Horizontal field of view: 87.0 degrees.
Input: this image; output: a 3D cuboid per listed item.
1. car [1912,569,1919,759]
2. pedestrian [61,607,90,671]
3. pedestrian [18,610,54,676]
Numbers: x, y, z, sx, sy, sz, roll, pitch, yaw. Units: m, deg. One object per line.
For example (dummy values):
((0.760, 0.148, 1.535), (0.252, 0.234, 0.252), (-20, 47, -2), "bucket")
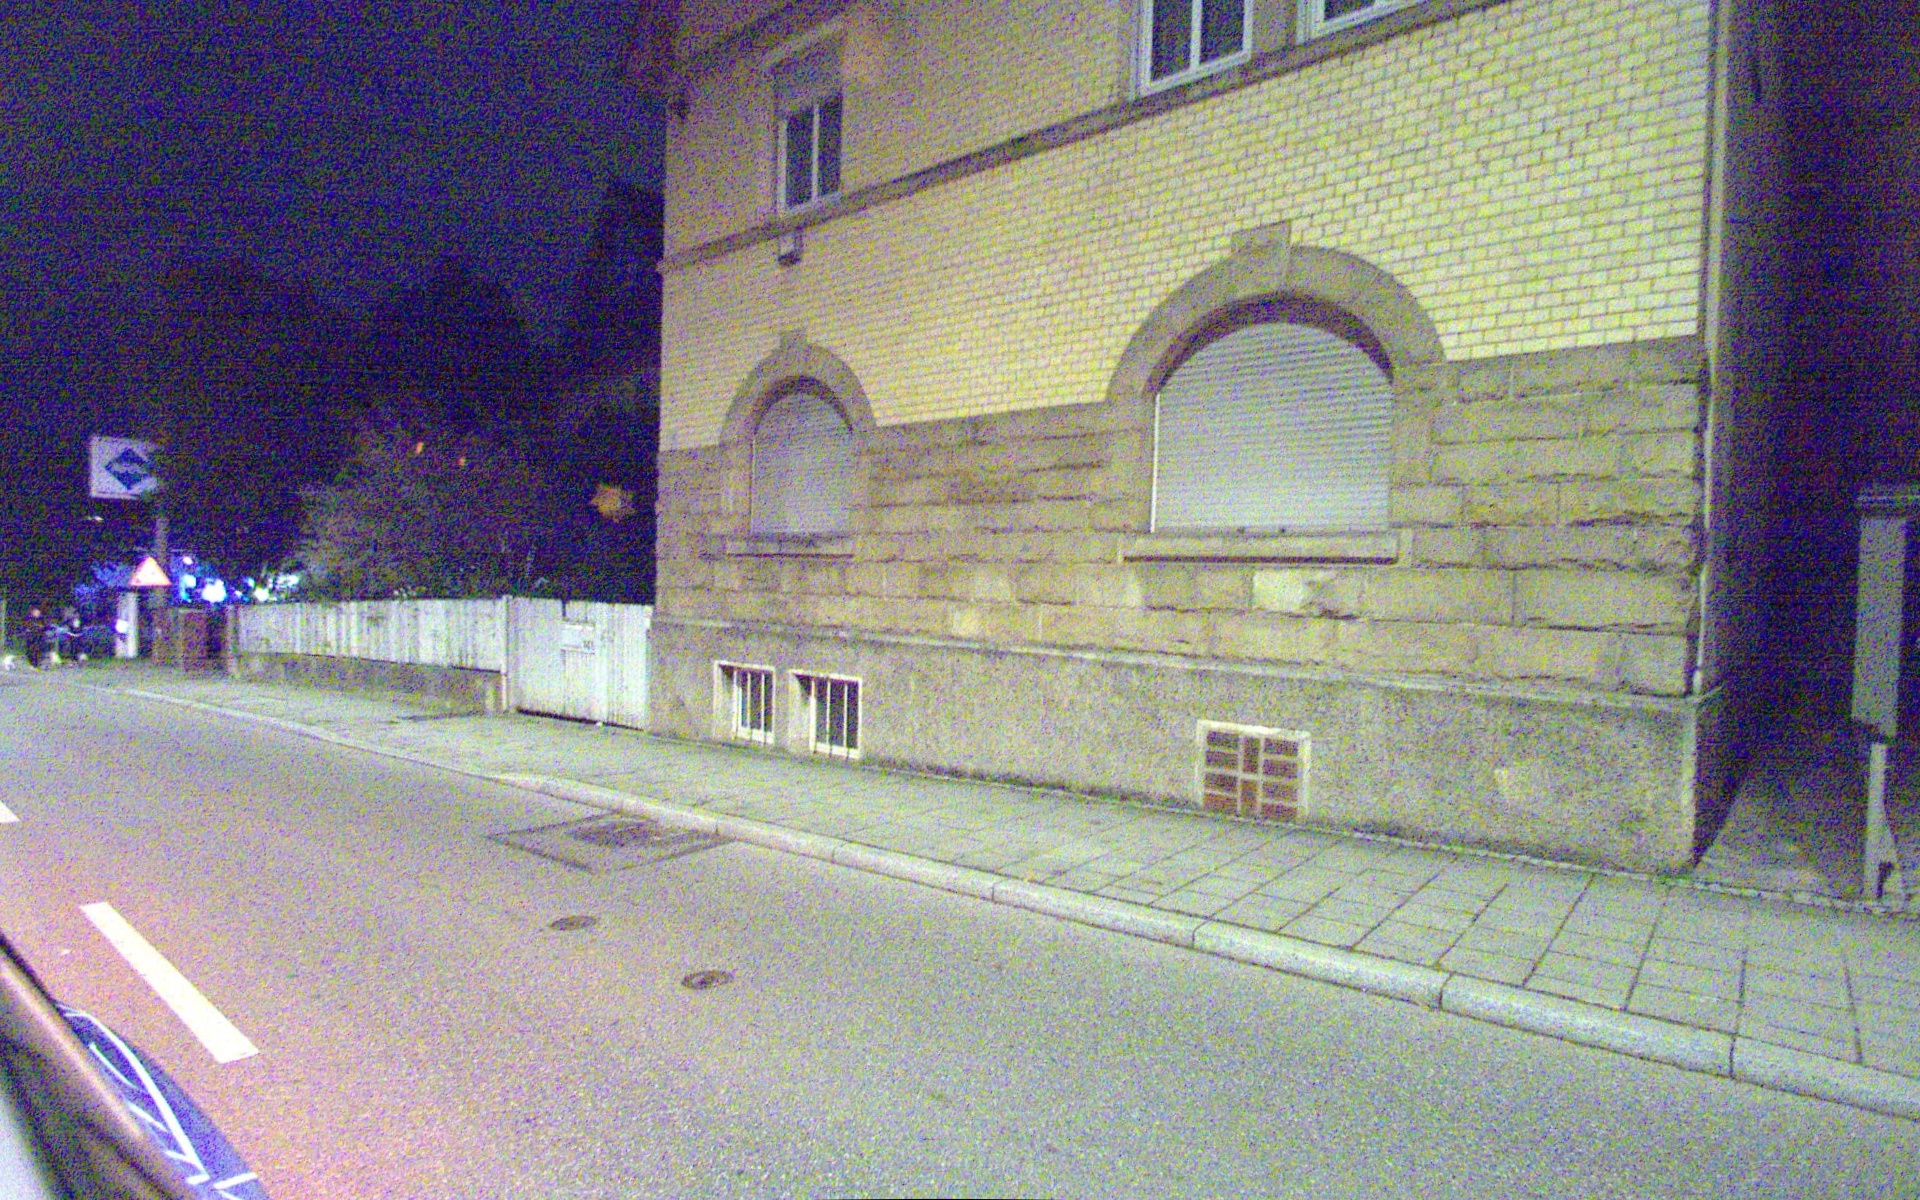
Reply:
((7.200, 0.537, 6.235), (1.718, 1.452, 3.612), (-1, 2, 40), "car")
((-25.252, 1.101, 28.889), (0.500, 1.773, 0.557), (-1, 0, 41), "pedestrian")
((-25.091, 1.154, 27.475), (0.500, 1.773, 0.664), (-1, 0, 41), "pedestrian")
